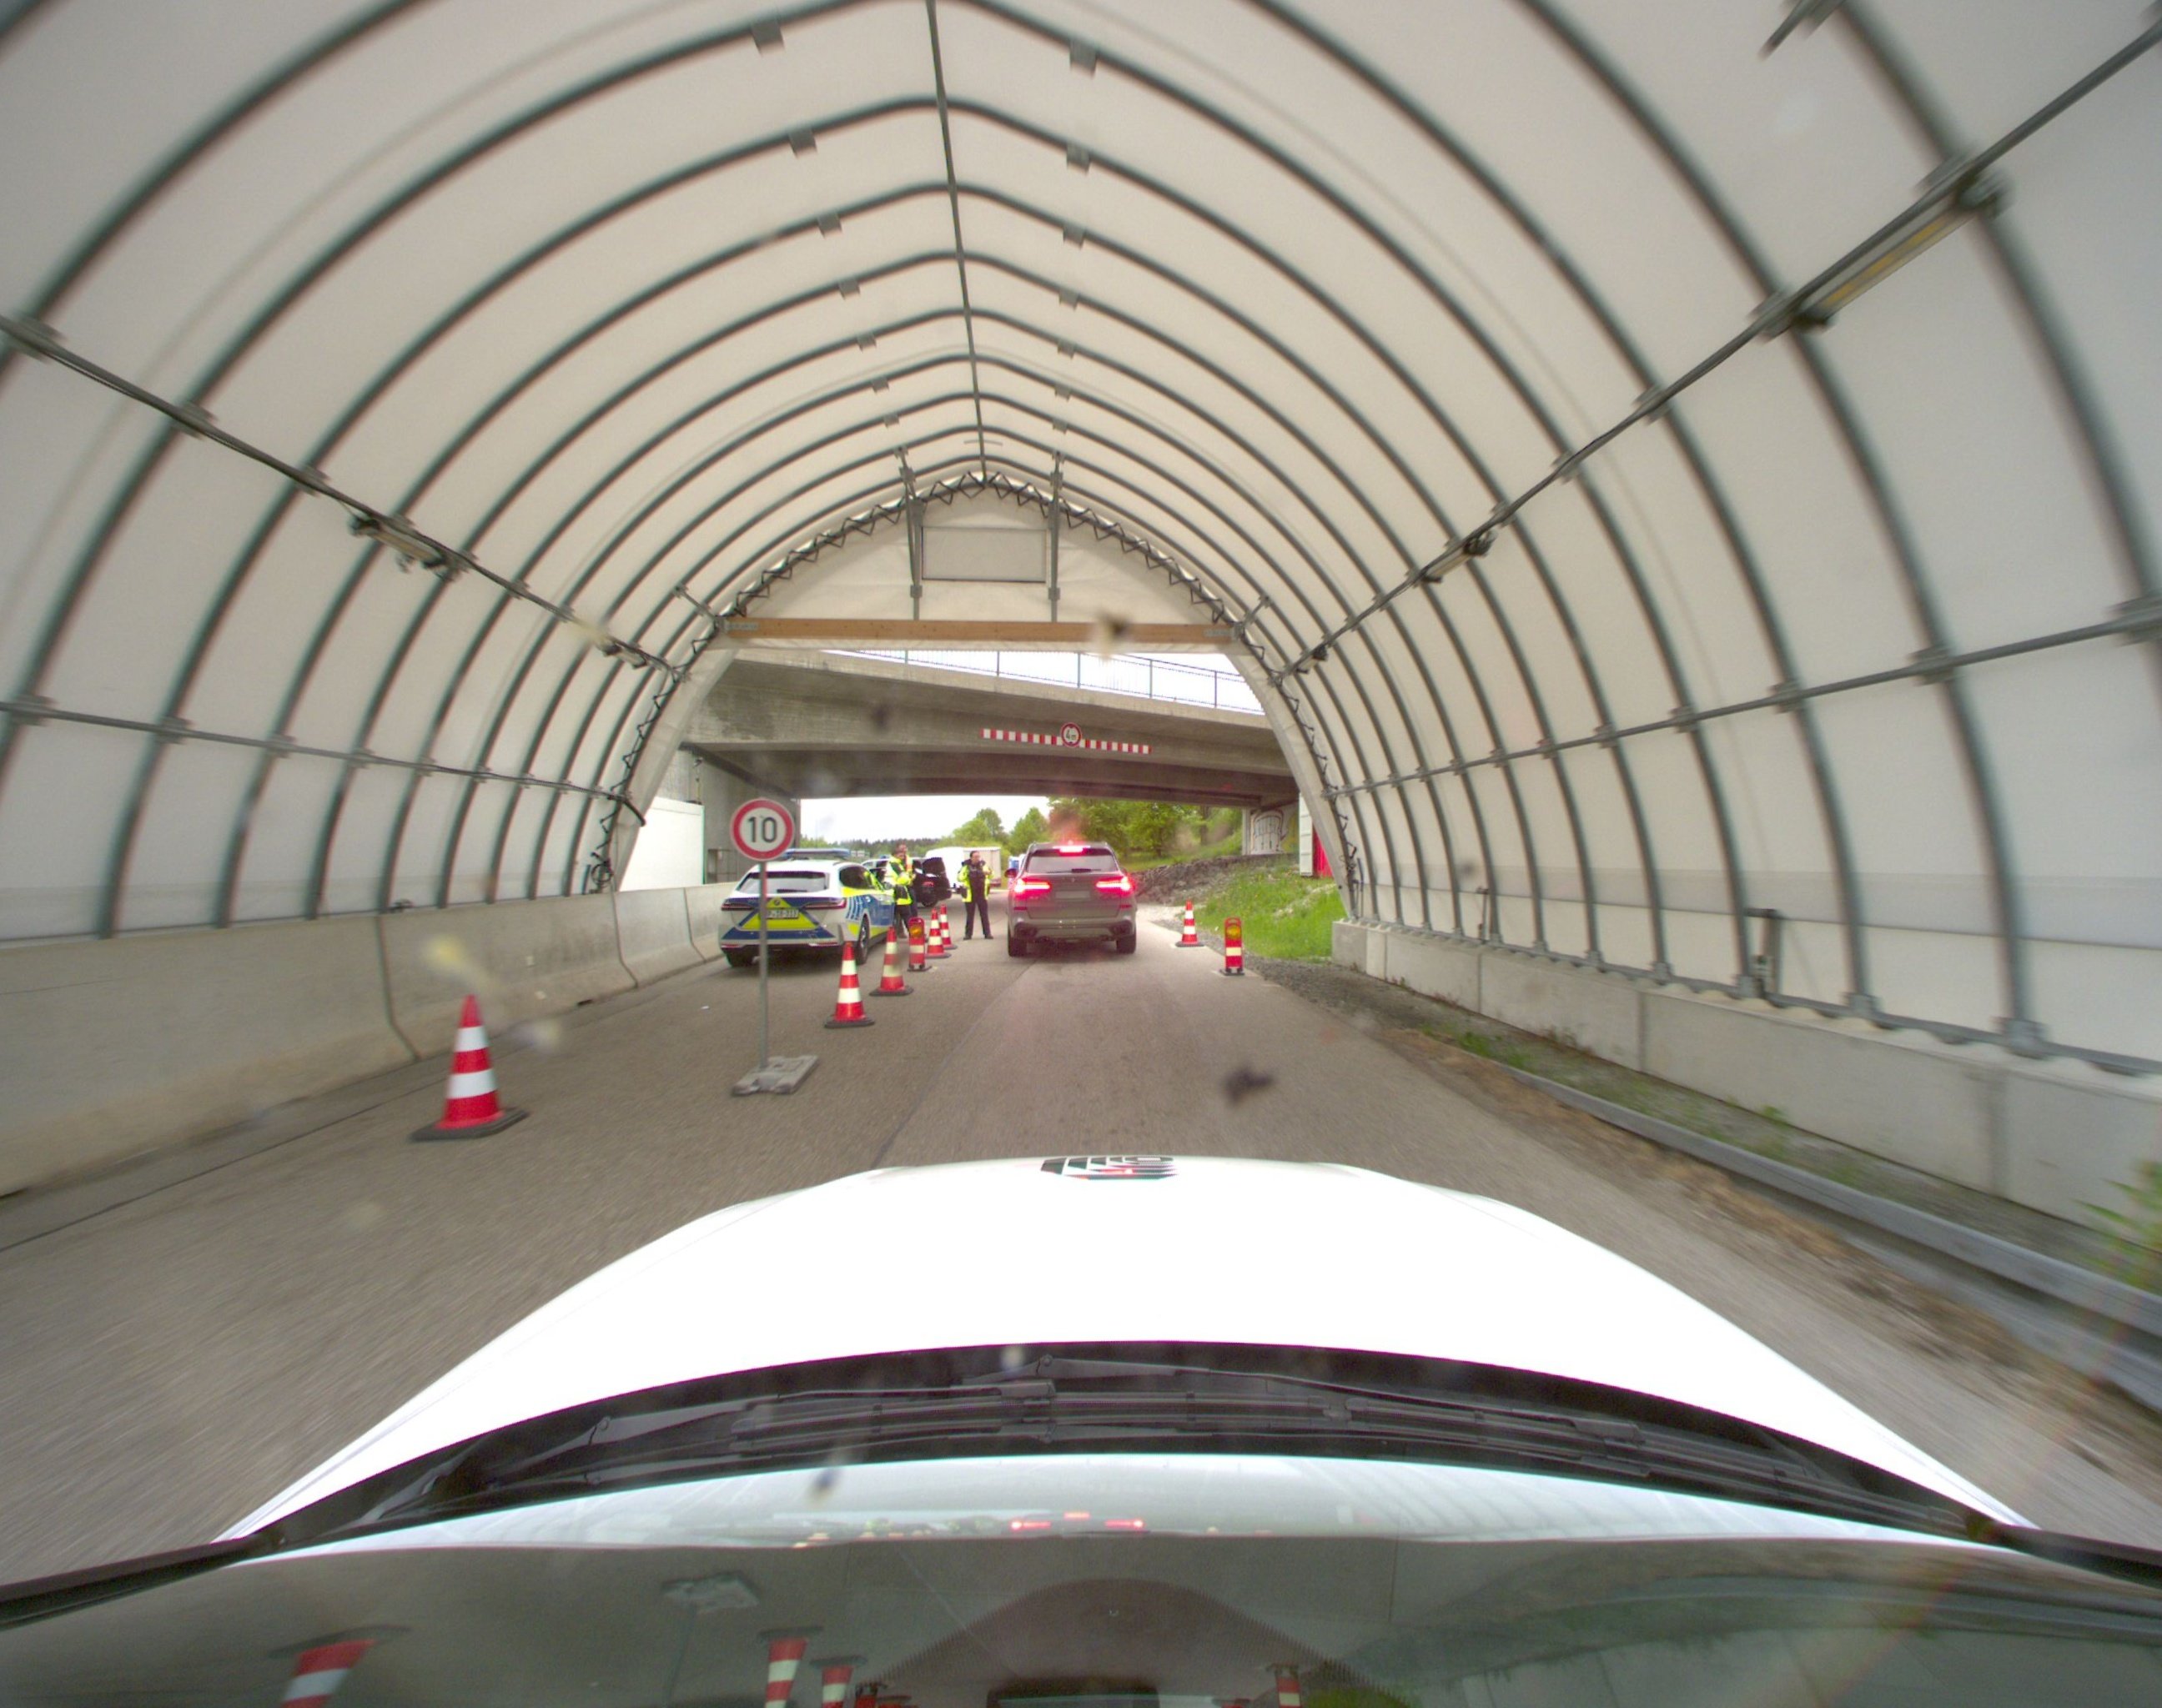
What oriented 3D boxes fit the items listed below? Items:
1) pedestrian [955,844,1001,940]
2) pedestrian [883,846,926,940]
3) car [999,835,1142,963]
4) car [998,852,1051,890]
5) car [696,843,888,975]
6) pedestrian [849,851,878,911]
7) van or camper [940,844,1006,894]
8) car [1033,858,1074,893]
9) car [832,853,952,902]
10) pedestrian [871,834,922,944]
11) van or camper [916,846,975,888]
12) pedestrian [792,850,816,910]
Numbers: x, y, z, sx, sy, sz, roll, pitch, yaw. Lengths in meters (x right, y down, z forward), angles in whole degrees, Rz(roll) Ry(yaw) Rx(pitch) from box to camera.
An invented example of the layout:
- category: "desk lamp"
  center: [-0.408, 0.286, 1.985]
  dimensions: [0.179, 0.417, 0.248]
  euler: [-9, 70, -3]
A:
- category: "pedestrian"
  center: [-1.935, 0.694, 15.259]
  dimensions: [0.780, 1.722, 0.754]
  euler: [-2, -1, -10]
- category: "pedestrian"
  center: [-3.419, 0.744, 15.792]
  dimensions: [0.606, 1.754, 0.666]
  euler: [-2, -1, 2]
- category: "car"
  center: [-0.177, 0.651, 13.640]
  dimensions: [1.988, 1.765, 3.998]
  euler: [-2, 0, -1]
- category: "car"
  center: [-3.800, 1.134, 54.110]
  dimensions: [2.005, 2.346, 3.963]
  euler: [-1, 0, -28]
- category: "car"
  center: [-4.220, 0.726, 12.583]
  dimensions: [1.875, 1.646, 3.991]
  euler: [-2, 0, -6]
- category: "pedestrian"
  center: [-7.351, 0.904, 27.525]
  dimensions: [0.697, 2.014, 0.694]
  euler: [-2, -1, 7]
- category: "van or camper"
  center: [-6.243, 0.827, 46.135]
  dimensions: [2.238, 2.552, 6.565]
  euler: [-2, 0, -20]
- category: "car"
  center: [-1.541, 1.141, 44.554]
  dimensions: [1.990, 1.722, 3.890]
  euler: [-2, 0, -5]
- category: "car"
  center: [-8.272, 1.014, 35.738]
  dimensions: [4.770, 2.014, 1.848]
  euler: [-2, -1, 15]
- category: "pedestrian"
  center: [-3.311, 0.614, 14.674]
  dimensions: [0.748, 1.919, 0.761]
  euler: [-2, -1, -7]
- category: "van or camper"
  center: [-8.705, 0.821, 51.897]
  dimensions: [2.115, 2.519, 5.503]
  euler: [-1, 0, -26]
- category: "pedestrian"
  center: [-9.580, 0.895, 28.172]
  dimensions: [0.624, 2.014, 0.654]
  euler: [-2, -1, -8]
